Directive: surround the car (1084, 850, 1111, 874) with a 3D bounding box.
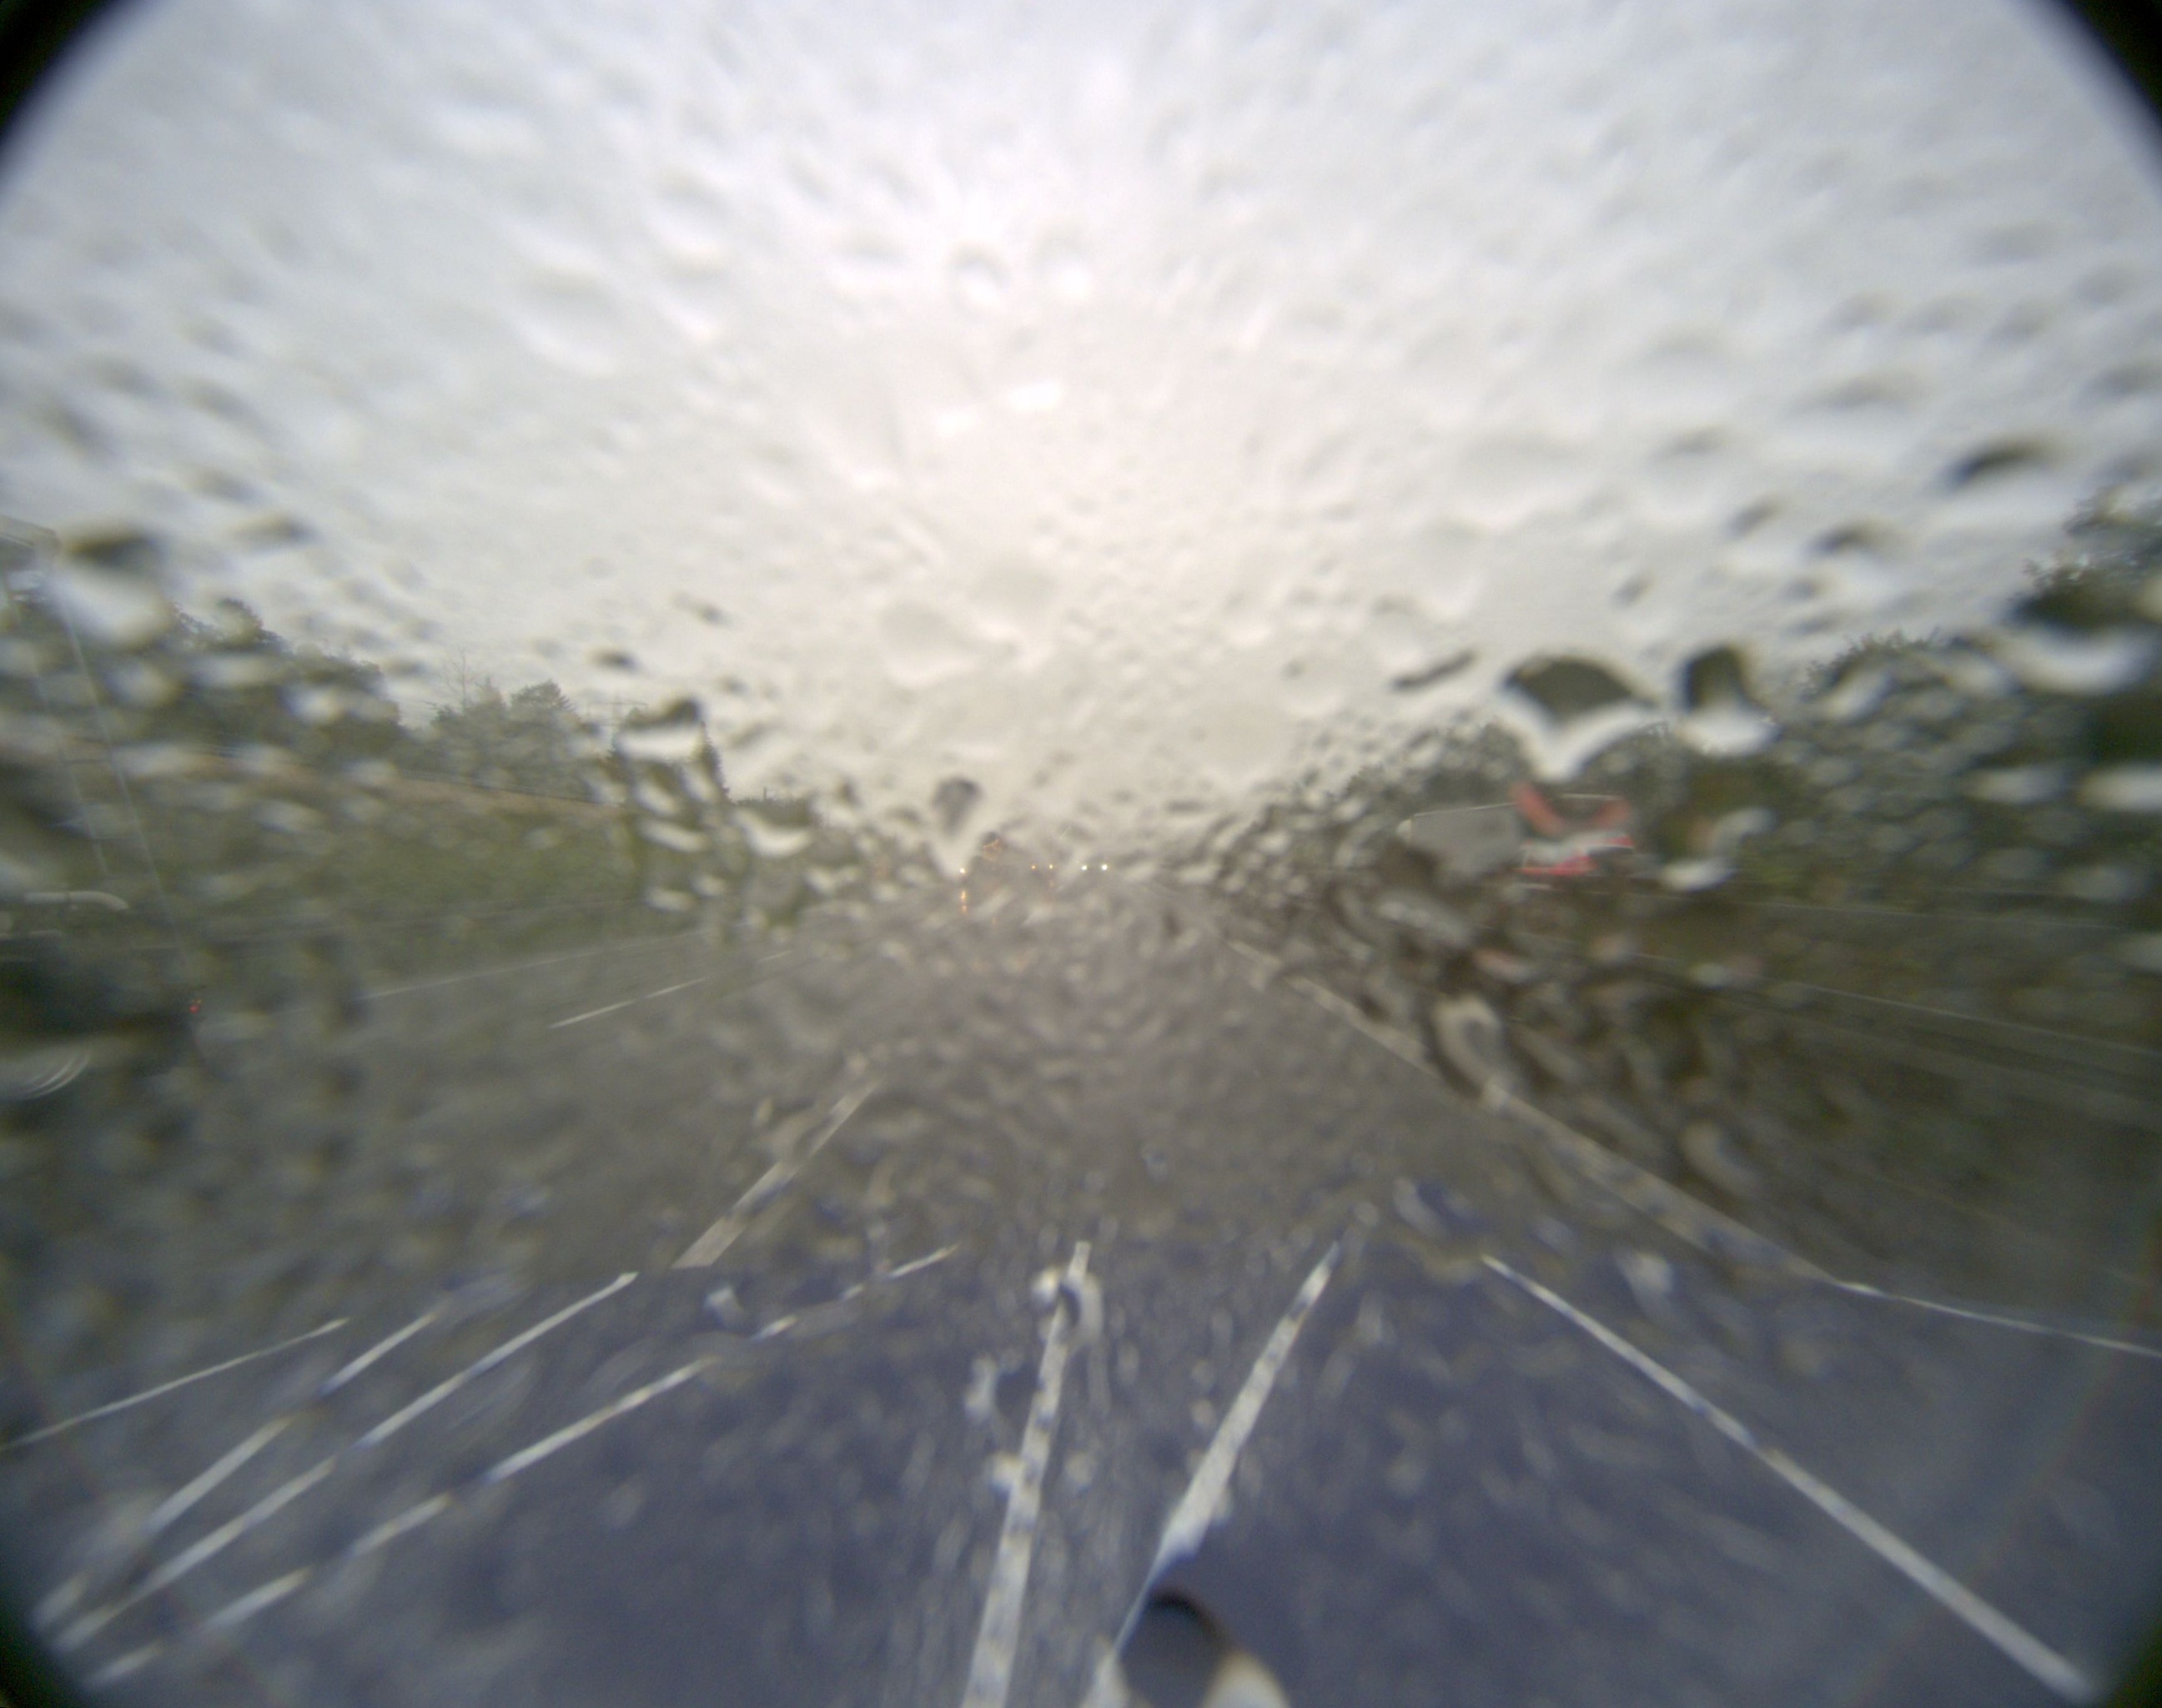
[{"bbox_3d":[1.200,0.569,55.671,1.845,1.671,4.000,-2,0,1],"label":"car"}]

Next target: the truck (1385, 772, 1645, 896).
[{"bbox_3d":[20.036,-0.701,37.639,2.973,4.647,17.099,-2,0,0],"label":"truck"}]

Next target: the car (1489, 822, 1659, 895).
[{"bbox_3d":[15.195,0.139,23.836,1.998,1.973,5.015,-2,0,0],"label":"car"}]

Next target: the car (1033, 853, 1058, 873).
[{"bbox_3d":[-2.743,0.695,59.610,1.663,1.491,3.837,-2,0,1],"label":"car"}]

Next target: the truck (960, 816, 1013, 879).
[{"bbox_3d":[-6.171,-0.380,50.380,2.457,3.866,6.200,-2,0,1],"label":"truck"}]

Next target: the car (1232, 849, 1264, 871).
[{"bbox_3d":[16.715,0.619,76.270,1.933,2.002,5.402,-2,0,0],"label":"car"}]

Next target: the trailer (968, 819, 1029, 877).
[{"bbox_3d":[-6.055,-0.336,58.708,2.486,3.743,16.546,-2,0,1],"label":"trailer"}]

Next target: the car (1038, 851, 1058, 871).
[{"bbox_3d":[-2.843,0.568,65.284,1.517,1.606,3.186,-2,0,0],"label":"car"}]
